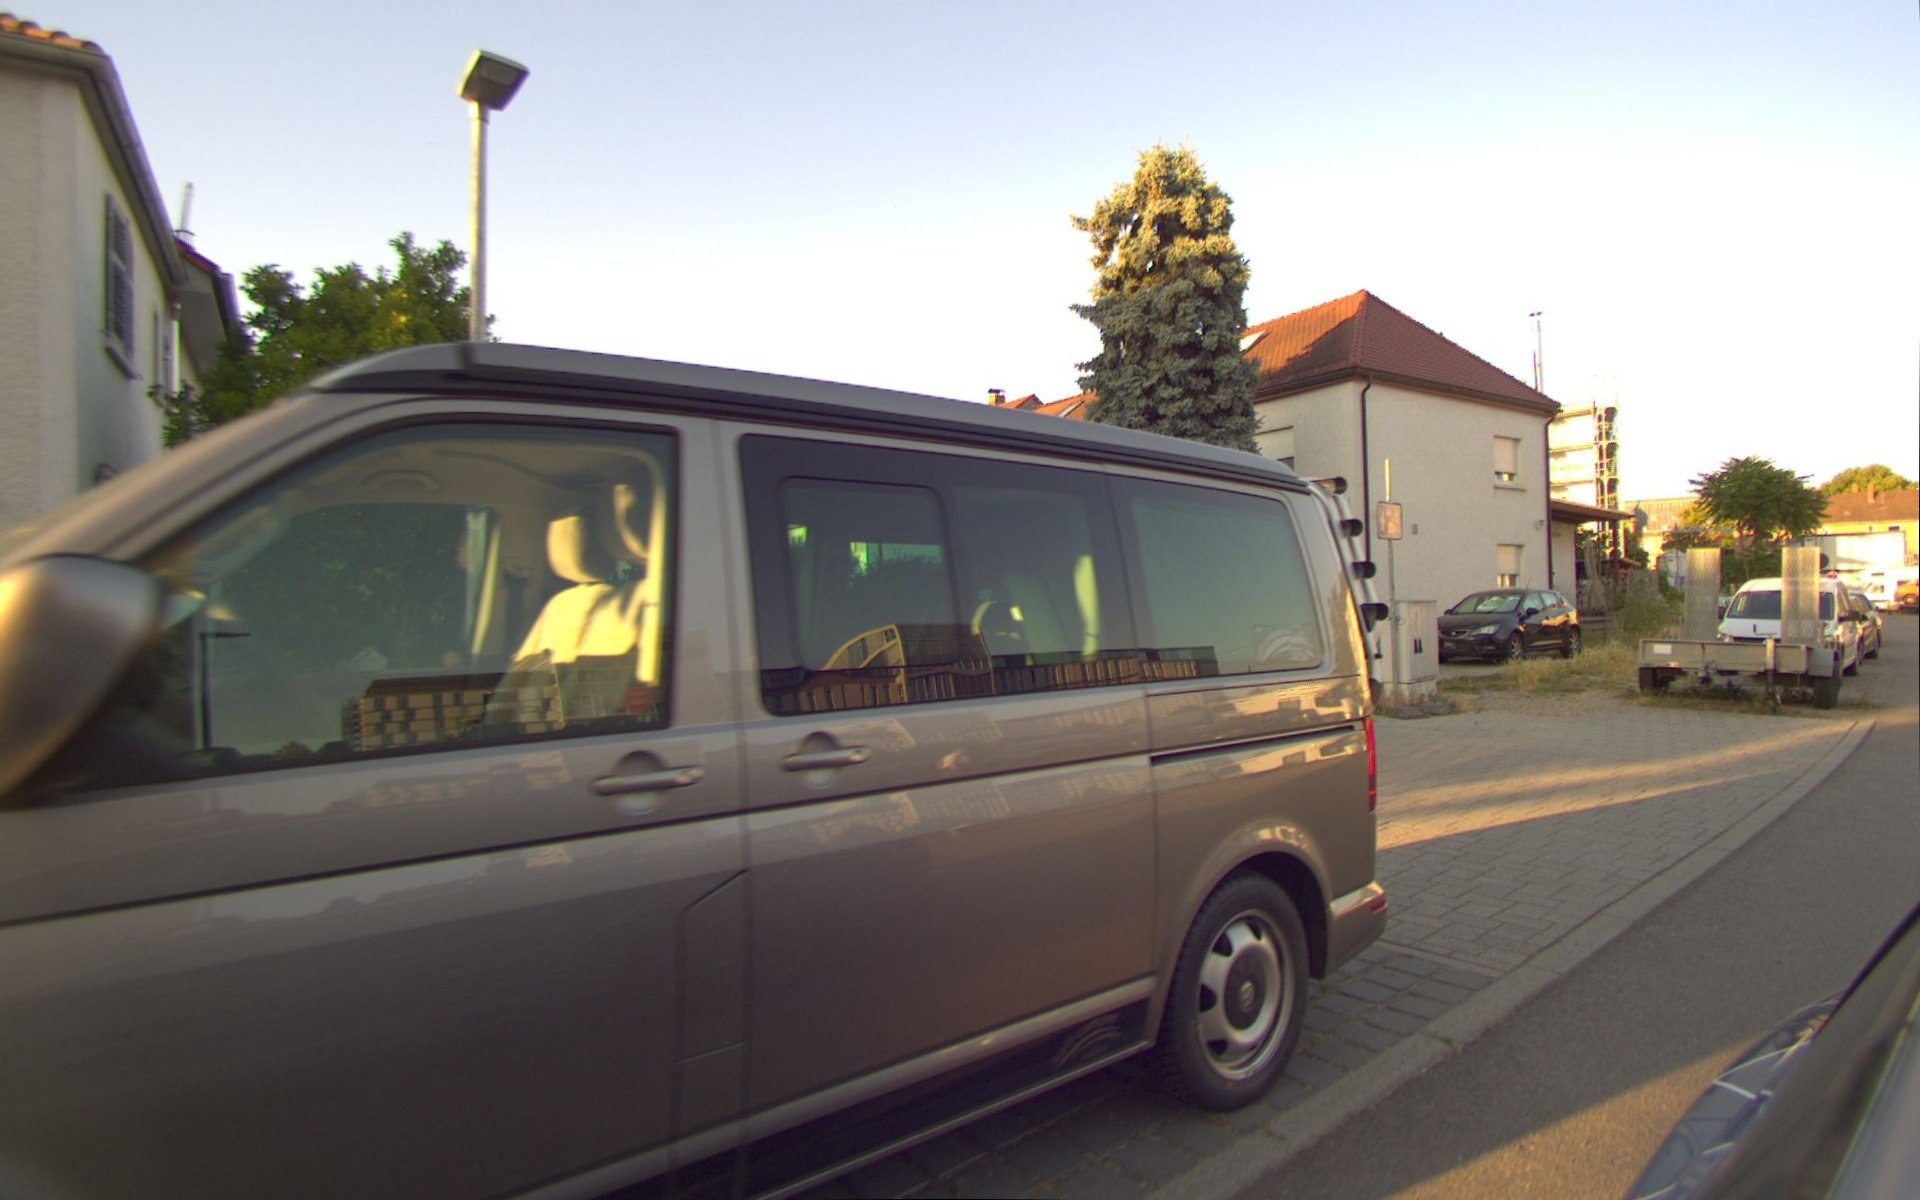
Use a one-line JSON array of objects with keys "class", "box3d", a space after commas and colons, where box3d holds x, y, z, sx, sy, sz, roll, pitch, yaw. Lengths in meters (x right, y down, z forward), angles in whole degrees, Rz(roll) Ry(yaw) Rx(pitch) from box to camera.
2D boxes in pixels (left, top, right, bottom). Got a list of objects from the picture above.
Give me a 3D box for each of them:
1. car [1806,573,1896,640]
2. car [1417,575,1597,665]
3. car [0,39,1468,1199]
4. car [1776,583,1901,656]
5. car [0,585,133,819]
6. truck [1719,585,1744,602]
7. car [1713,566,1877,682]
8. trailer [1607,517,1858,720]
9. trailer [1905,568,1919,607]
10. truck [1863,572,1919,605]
[{"class": "car", "box3d": [25.316, 0.137, 28.854, 1.804, 1.746, 4.856, 1, 1, 40]}, {"class": "car", "box3d": [10.962, 0.337, 20.212, 3.831, 1.538, 1.641, -3, 1, -36]}, {"class": "car", "box3d": [-0.722, 0.360, 2.931, 4.783, 2.121, 2.070, 0, 0, -38]}, {"class": "car", "box3d": [20.211, 0.402, 23.227, 4.018, 1.538, 1.706, -1, 0, -42]}, {"class": "car", "box3d": [-7.488, 0.644, 6.230, 3.570, 1.462, 1.533, 0, 0, -34]}, {"class": "truck", "box3d": [103.142, -0.796, 135.258, 1.824, 2.129, 3.706, -4, -2, 27]}, {"class": "car", "box3d": [15.130, 0.343, 18.254, 4.335, 1.854, 1.772, -1, 0, -44]}, {"class": "trailer", "box3d": [10.617, 0.196, 13.733, 2.064, 2.240, 5.138, -1, 0, 45]}, {"class": "trailer", "box3d": [62.743, -0.904, 63.538, 4.785, 2.463, 2.103, -3, -1, 41]}, {"class": "truck", "box3d": [63.601, -0.778, 66.591, 5.995, 2.069, 2.324, -2, -1, 37]}]
